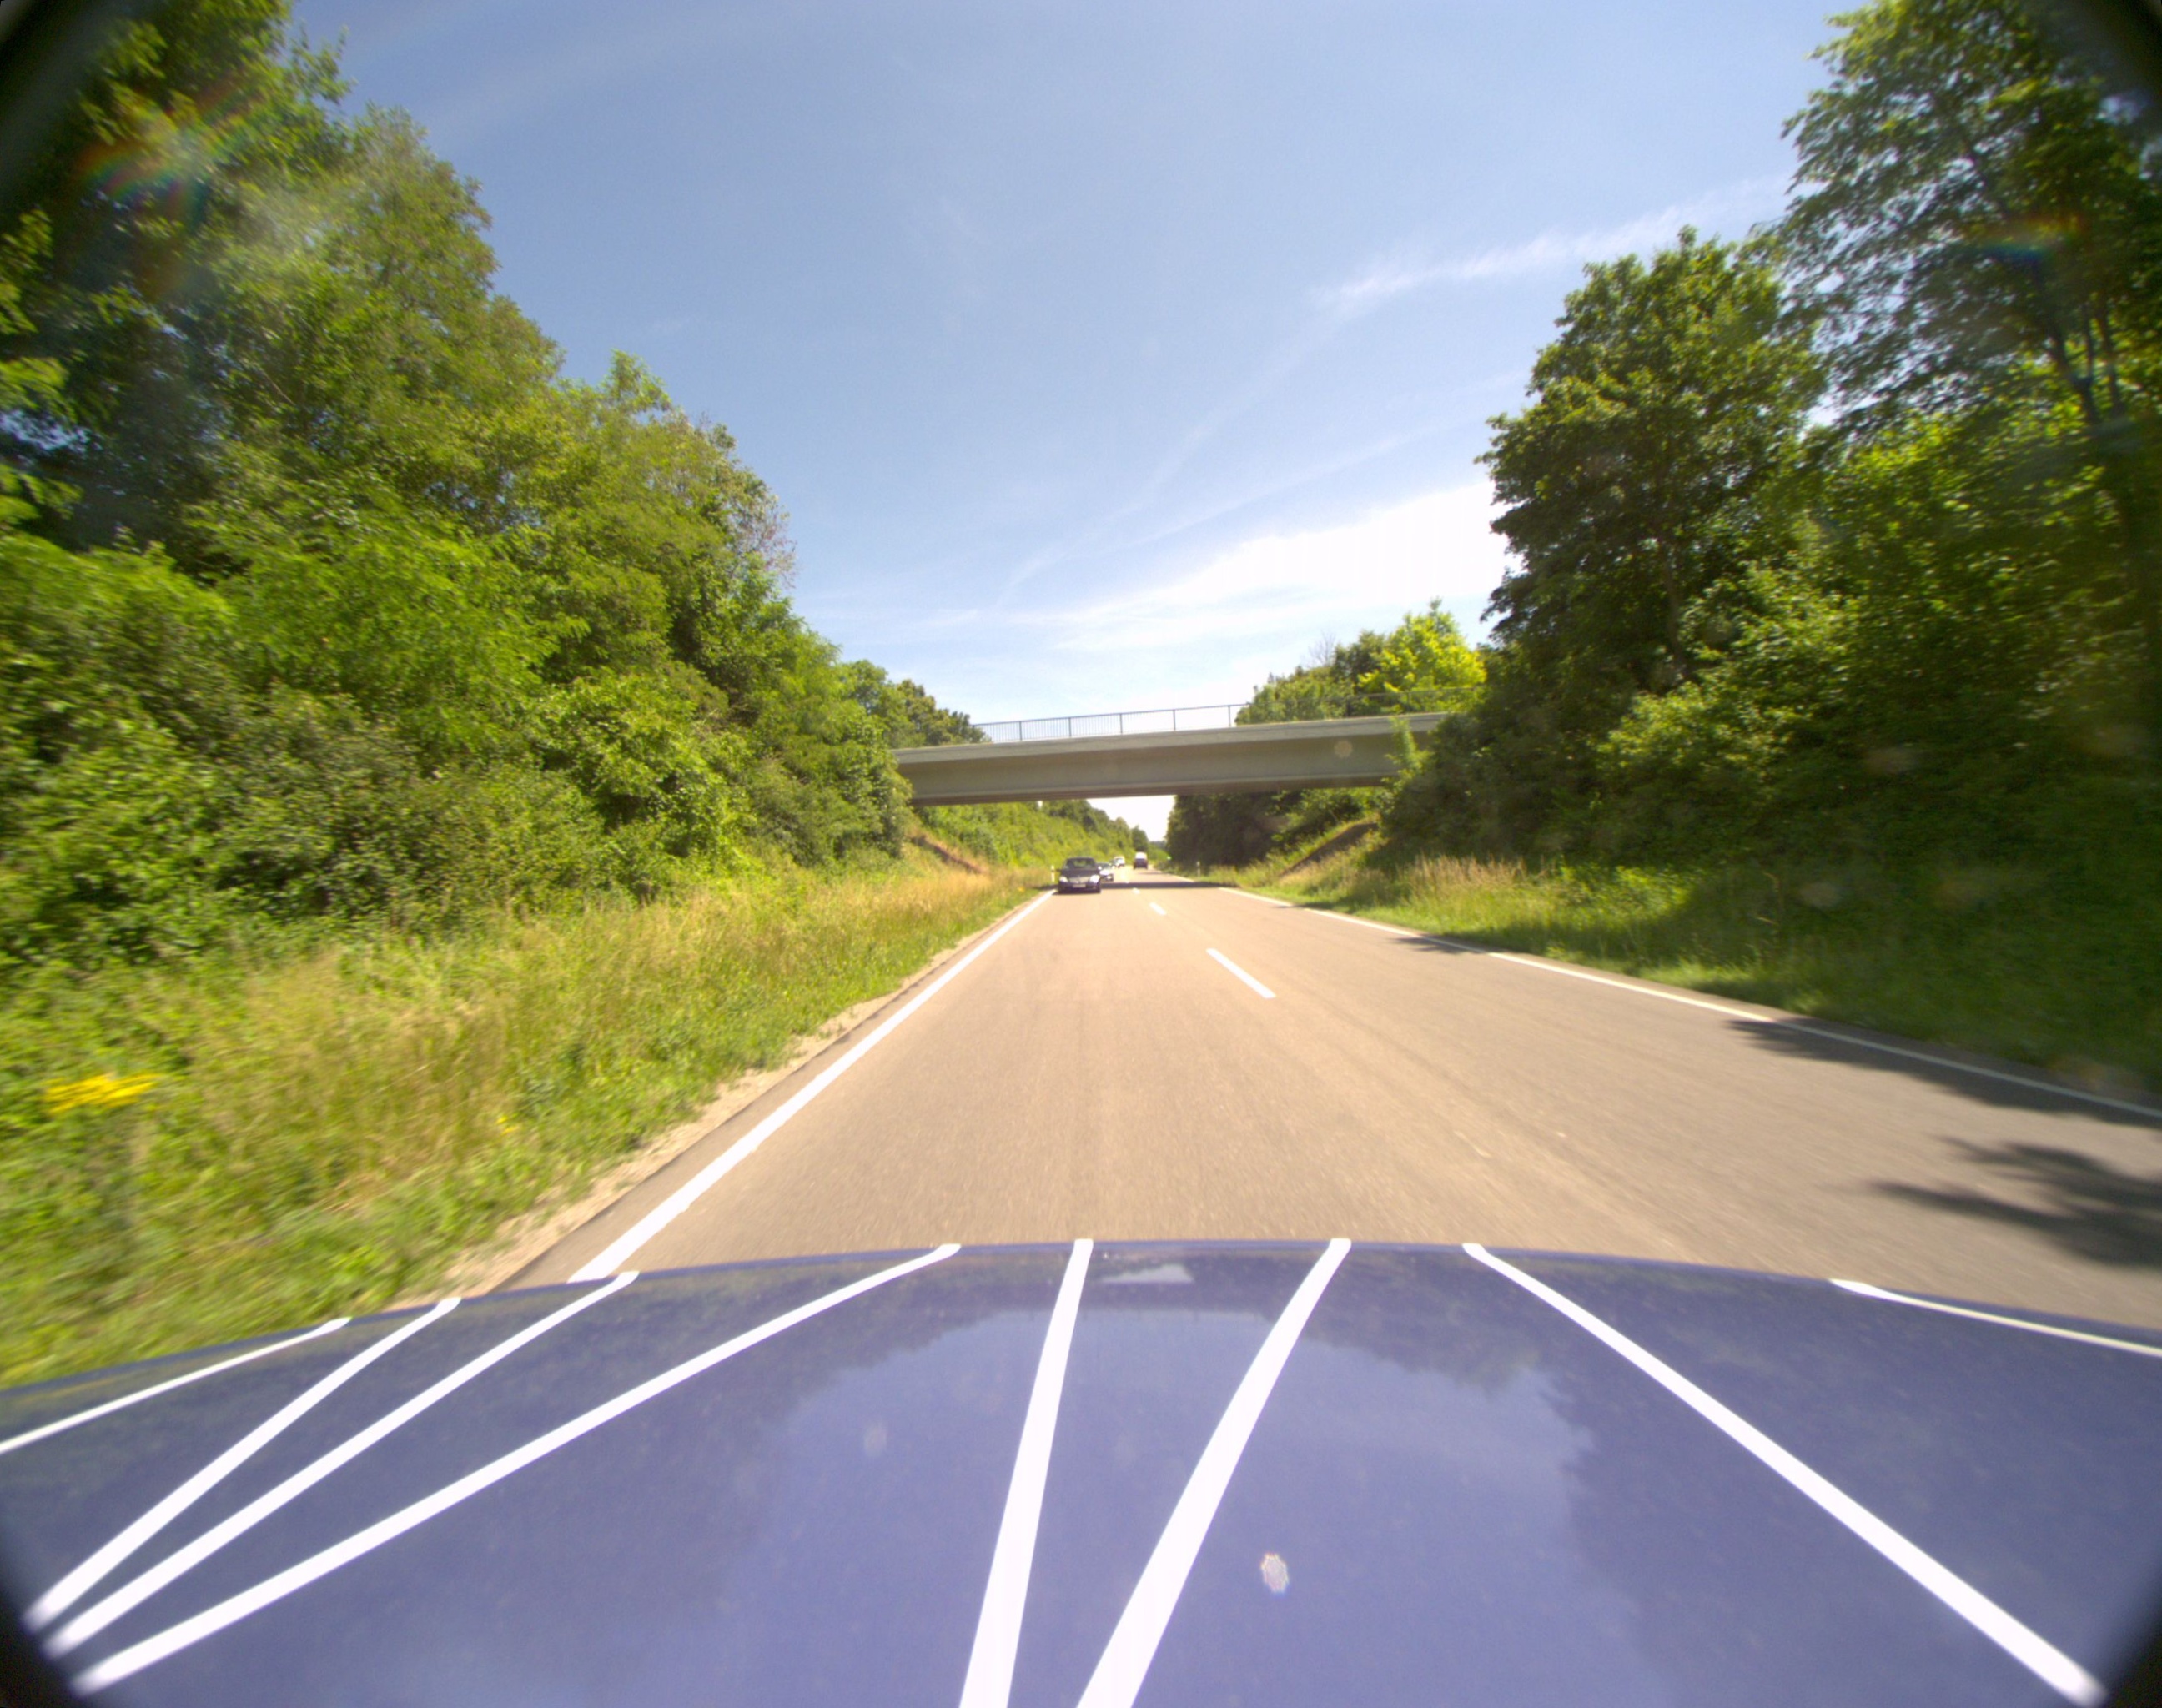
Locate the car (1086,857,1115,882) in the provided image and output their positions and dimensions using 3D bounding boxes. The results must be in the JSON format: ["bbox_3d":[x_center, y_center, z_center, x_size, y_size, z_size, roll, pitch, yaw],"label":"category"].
[{"bbox_3d":[1.297,0.945,48.402,1.709,1.444,5.416,-1,0,2],"label":"car"}]

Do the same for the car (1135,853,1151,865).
[{"bbox_3d":[8.128,0.700,99.710,1.863,1.497,4.587,-1,0,2],"label":"car"}]

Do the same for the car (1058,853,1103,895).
[{"bbox_3d":[0.035,0.830,33.262,1.783,1.676,4.779,-1,0,1],"label":"car"}]

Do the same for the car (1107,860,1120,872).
[{"bbox_3d":[5.178,1.917,121.982,2.045,1.743,4.167,-1,0,1],"label":"car"}]

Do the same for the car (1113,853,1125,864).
[{"bbox_3d":[7.174,0.777,143.091,1.998,2.002,4.000,-2,0,1],"label":"car"}]

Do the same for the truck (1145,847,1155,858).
[{"bbox_3d":[21.475,-0.444,235.514,2.576,3.111,11.203,-4,1,6],"label":"truck"}]
